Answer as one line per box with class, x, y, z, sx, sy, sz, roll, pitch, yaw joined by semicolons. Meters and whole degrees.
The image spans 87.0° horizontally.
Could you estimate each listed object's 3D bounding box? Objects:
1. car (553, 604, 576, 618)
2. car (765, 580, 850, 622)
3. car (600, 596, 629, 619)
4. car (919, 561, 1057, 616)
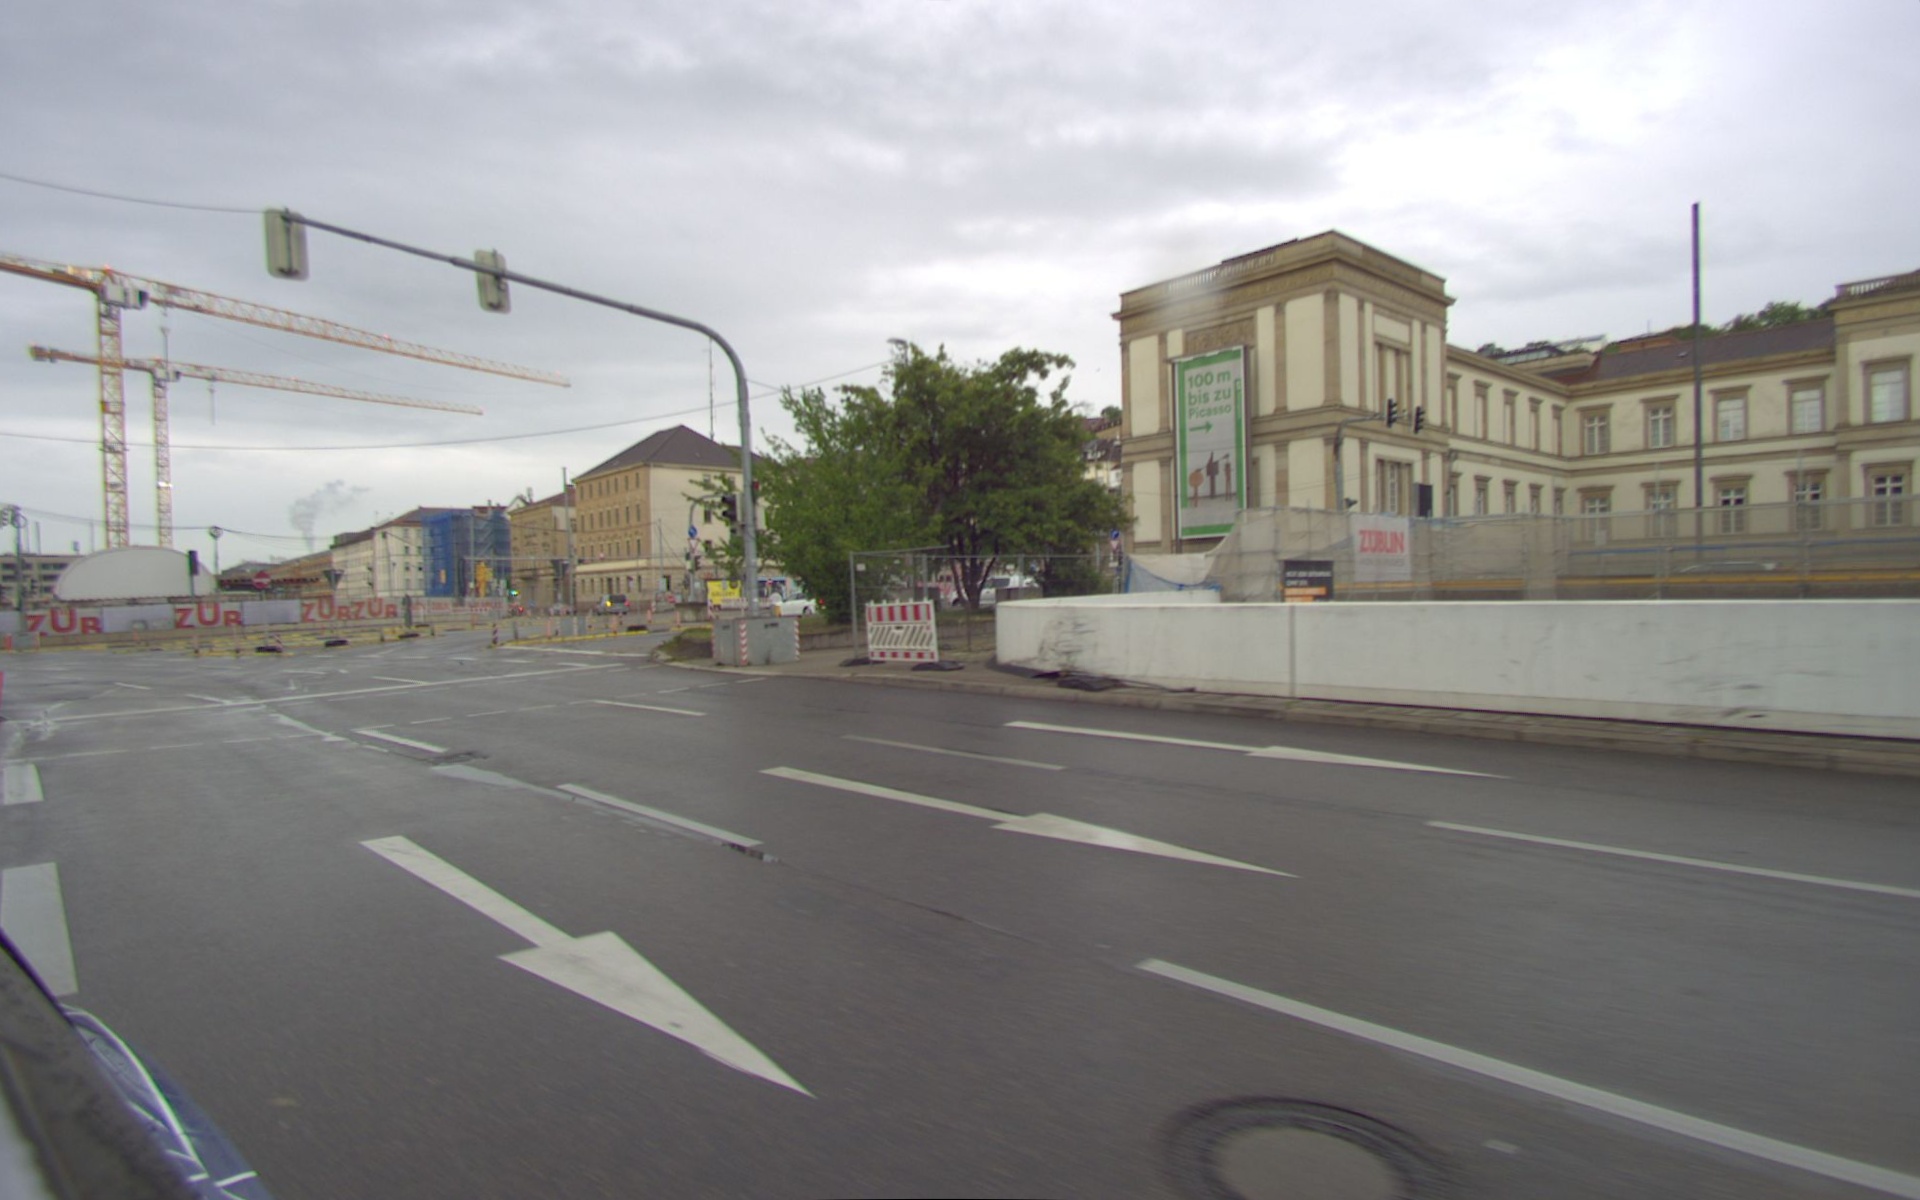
car;-43.948;1.228;112.380;1.557;1.357;3.817;-4;4;-33
car;-7.982;0.036;52.726;1.971;2.028;4.645;-5;4;-44
car;-31.142;0.621;91.140;1.965;1.852;4.699;-3;2;-24
car;1.186;-0.490;44.487;5.666;2.189;2.345;-1;3;34
